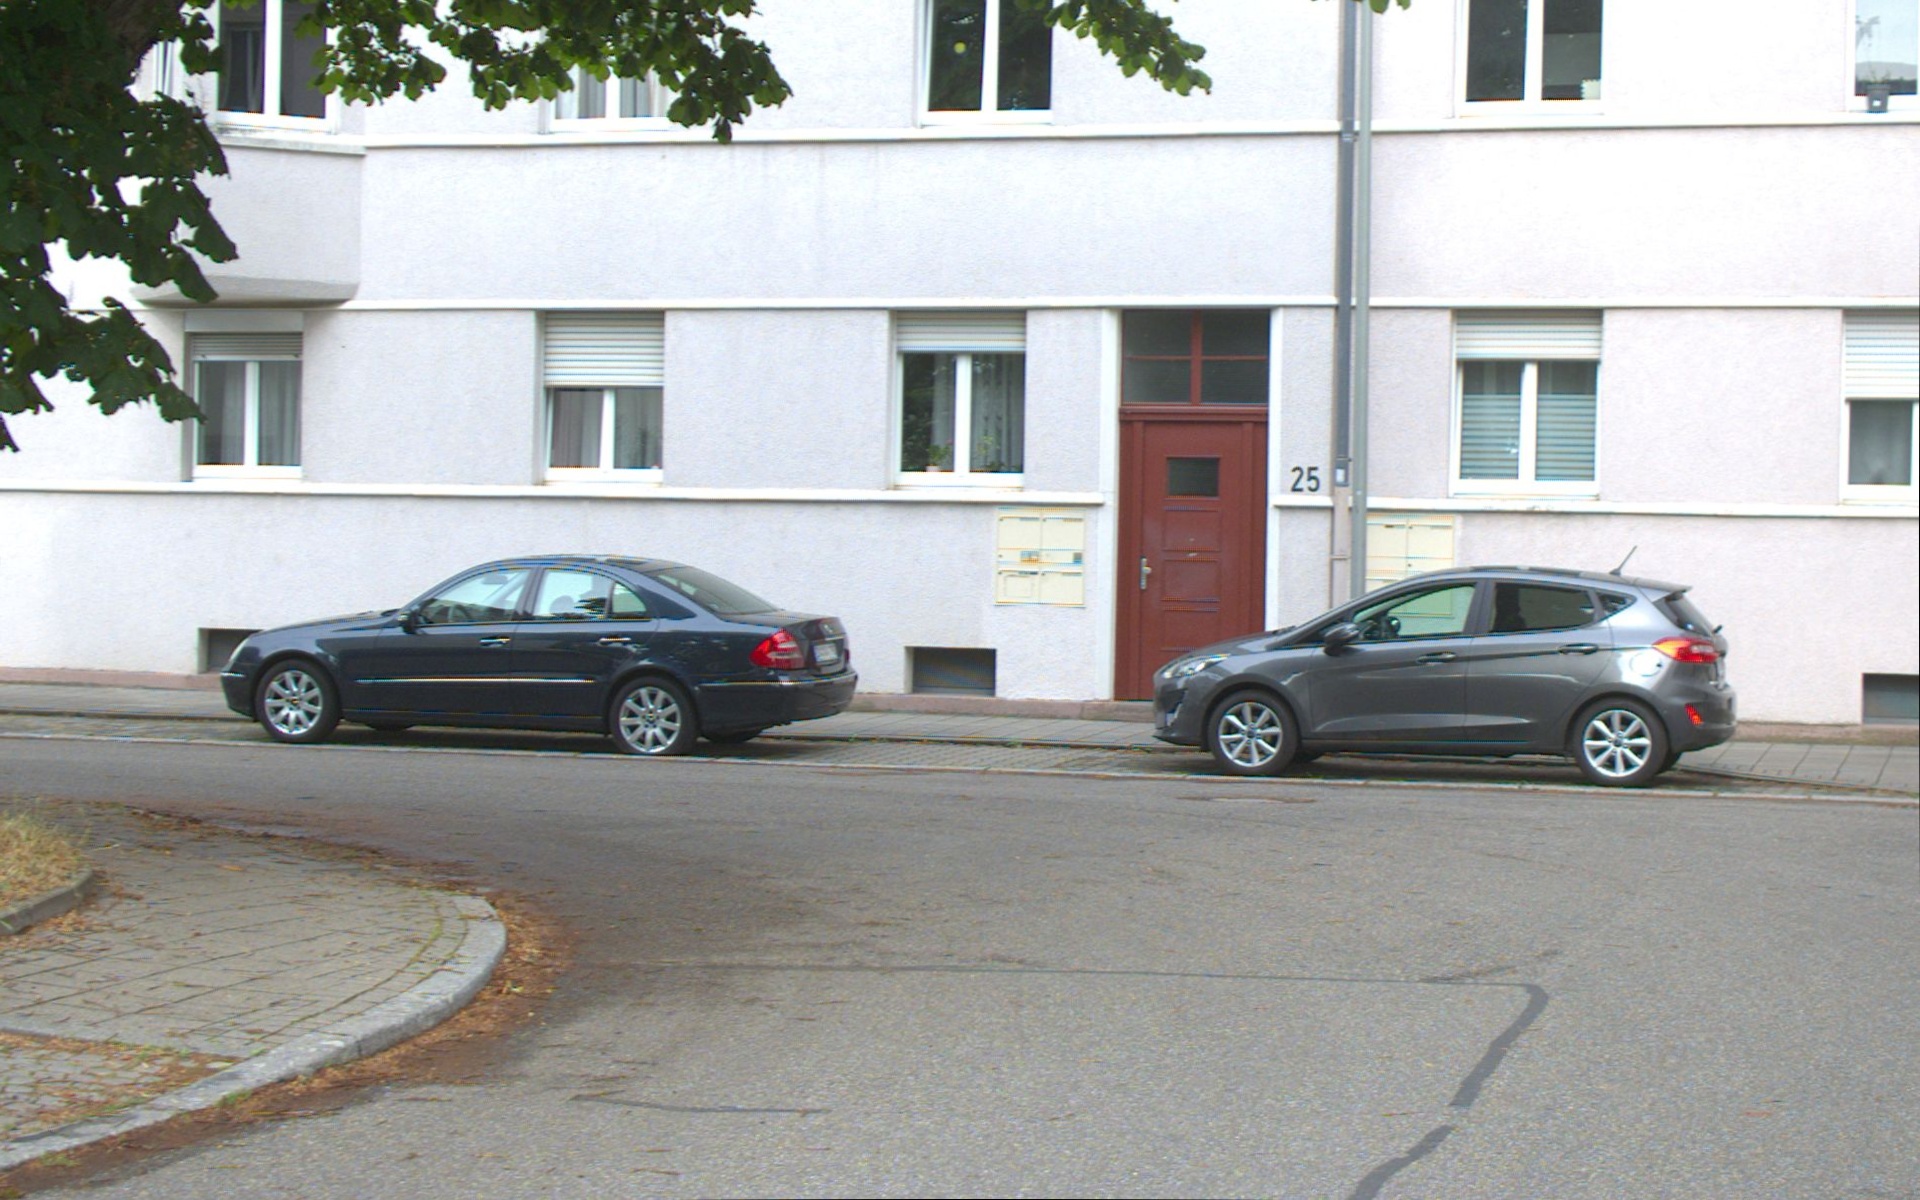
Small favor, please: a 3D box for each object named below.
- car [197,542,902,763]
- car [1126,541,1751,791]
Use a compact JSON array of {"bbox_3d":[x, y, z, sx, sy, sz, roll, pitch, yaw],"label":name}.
[{"bbox_3d":[-3.061,0.348,25.779,4.937,1.416,1.749,2,2,16],"label":"car"},{"bbox_3d":[3.353,0.411,23.923,4.069,1.520,1.761,2,2,16],"label":"car"}]
